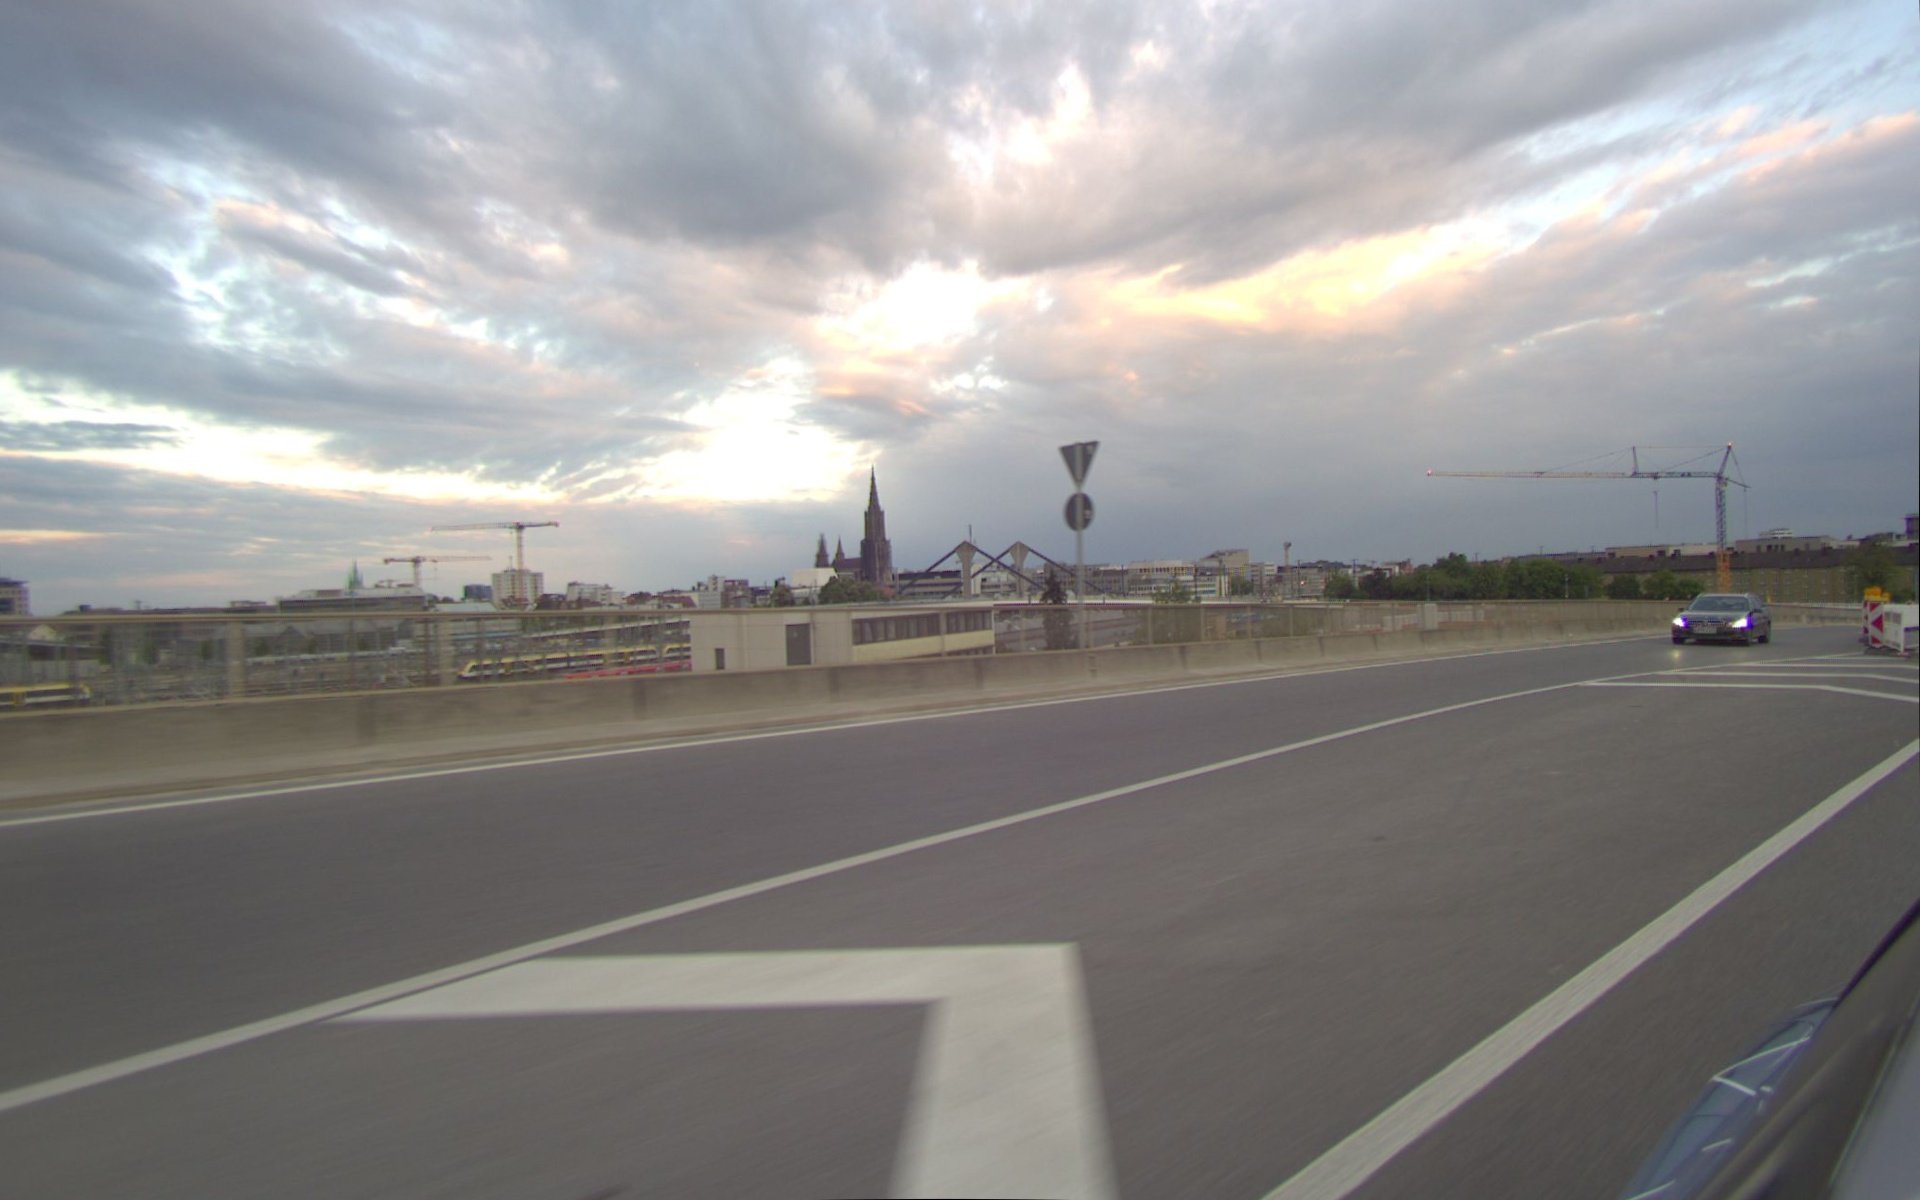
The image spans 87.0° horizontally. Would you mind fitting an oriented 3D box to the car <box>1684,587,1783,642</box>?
[{"bbox_3d":[22.764,0.372,29.718,3.934,1.510,1.751,-1,0,-44],"label":"car"}]
